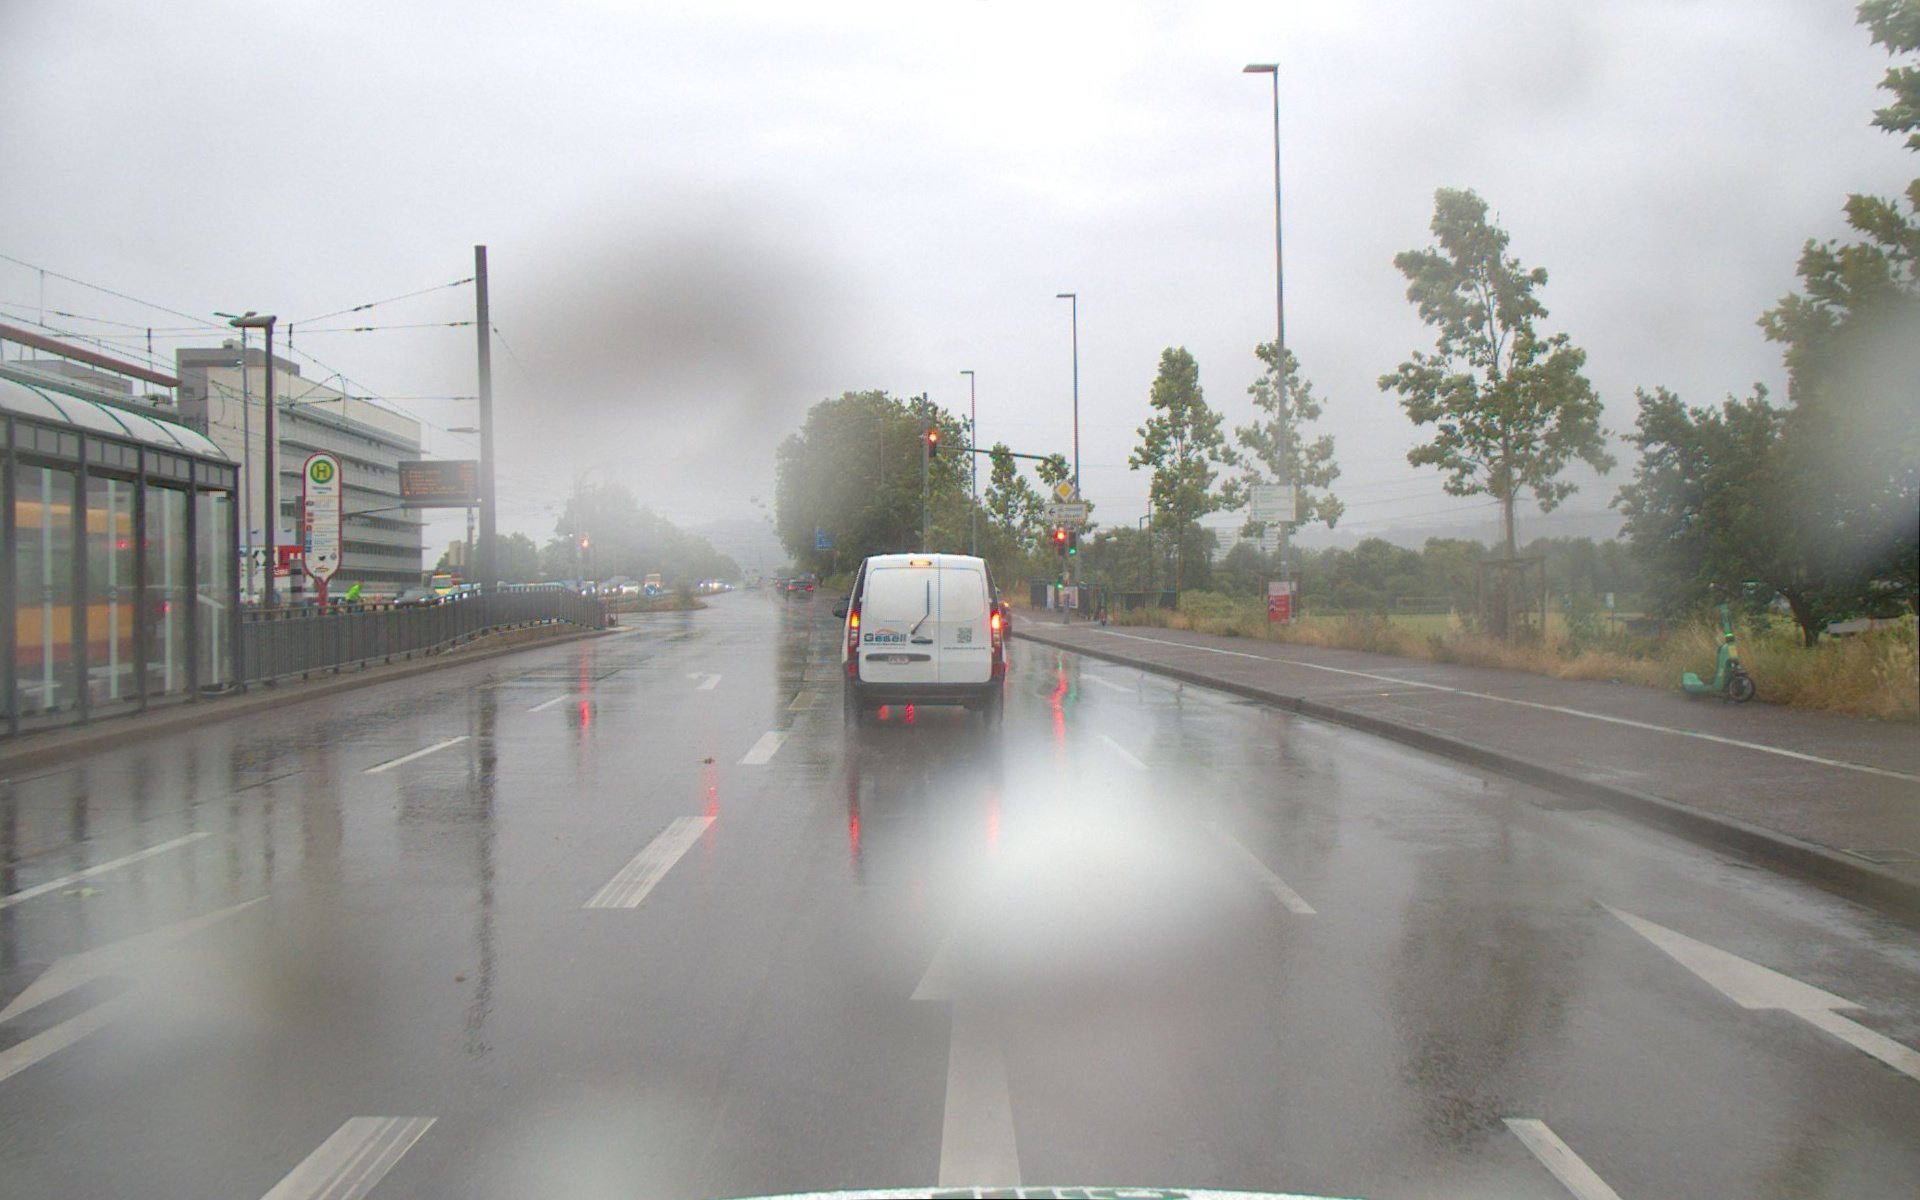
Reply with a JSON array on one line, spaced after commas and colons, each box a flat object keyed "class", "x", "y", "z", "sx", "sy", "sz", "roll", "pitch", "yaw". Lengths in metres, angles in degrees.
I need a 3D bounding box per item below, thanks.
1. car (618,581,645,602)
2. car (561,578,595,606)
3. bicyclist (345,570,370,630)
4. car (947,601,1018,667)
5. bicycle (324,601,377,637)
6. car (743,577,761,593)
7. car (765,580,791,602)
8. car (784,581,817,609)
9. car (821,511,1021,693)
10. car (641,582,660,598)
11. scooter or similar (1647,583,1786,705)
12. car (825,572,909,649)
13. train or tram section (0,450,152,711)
[{"class": "car", "x": -32.497, "y": -0.846, "z": 163.660, "sx": 1.953, "sy": 2.049, "sz": 4.000, "roll": 1, "pitch": 0, "yaw": -1}, {"class": "car", "x": -28.558, "y": -0.596, "z": 123.849, "sx": 1.955, "sy": 2.049, "sz": 3.995, "roll": 1, "pitch": 0, "yaw": -6}, {"class": "bicyclist", "x": -20.843, "y": 0.007, "z": 57.217, "sx": 0.682, "sy": 2.049, "sz": 0.550, "roll": 1, "pitch": 0, "yaw": -10}, {"class": "car", "x": 0.608, "y": 0.942, "z": 47.746, "sx": 1.953, "sy": 1.780, "sz": 4.000, "roll": 1, "pitch": 0, "yaw": -1}, {"class": "bicycle", "x": -21.066, "y": 0.672, "z": 57.186, "sx": 1.624, "sy": 1.210, "sz": 0.594, "roll": -1, "pitch": -1, "yaw": -9}, {"class": "car", "x": -23.772, "y": -1.672, "z": 188.852, "sx": 1.957, "sy": 1.780, "sz": 3.992, "roll": 1, "pitch": 0, "yaw": -9}, {"class": "car", "x": -15.060, "y": -0.737, "z": 136.855, "sx": 1.957, "sy": 1.780, "sz": 3.992, "roll": 1, "pitch": 0, "yaw": -9}, {"class": "car", "x": -10.601, "y": -0.326, "z": 109.774, "sx": 1.957, "sy": 1.780, "sz": 3.992, "roll": 1, "pitch": 0, "yaw": -9}, {"class": "car", "x": -0.568, "y": 0.005, "z": 18.828, "sx": 1.985, "sy": 1.806, "sz": 4.270, "roll": 1, "pitch": 0, "yaw": -5}, {"class": "car", "x": -39.301, "y": -1.308, "z": 210.265, "sx": 1.954, "sy": 2.049, "sz": 3.996, "roll": 1, "pitch": 0, "yaw": -5}, {"class": "scooter or similar", "x": 7.955, "y": 0.433, "z": 17.454, "sx": 0.630, "sy": 1.216, "sz": 1.561, "roll": -1, "pitch": 0, "yaw": -5}, {"class": "car", "x": -2.304, "y": 0.232, "z": 41.113, "sx": 1.954, "sy": 1.780, "sz": 3.998, "roll": 1, "pitch": 0, "yaw": -3}, {"class": "train or tram section", "x": -16.374, "y": -0.259, "z": 18.236, "sx": 3.696, "sy": 4.107, "sz": 27.068, "roll": 1, "pitch": 0, "yaw": -5}]
